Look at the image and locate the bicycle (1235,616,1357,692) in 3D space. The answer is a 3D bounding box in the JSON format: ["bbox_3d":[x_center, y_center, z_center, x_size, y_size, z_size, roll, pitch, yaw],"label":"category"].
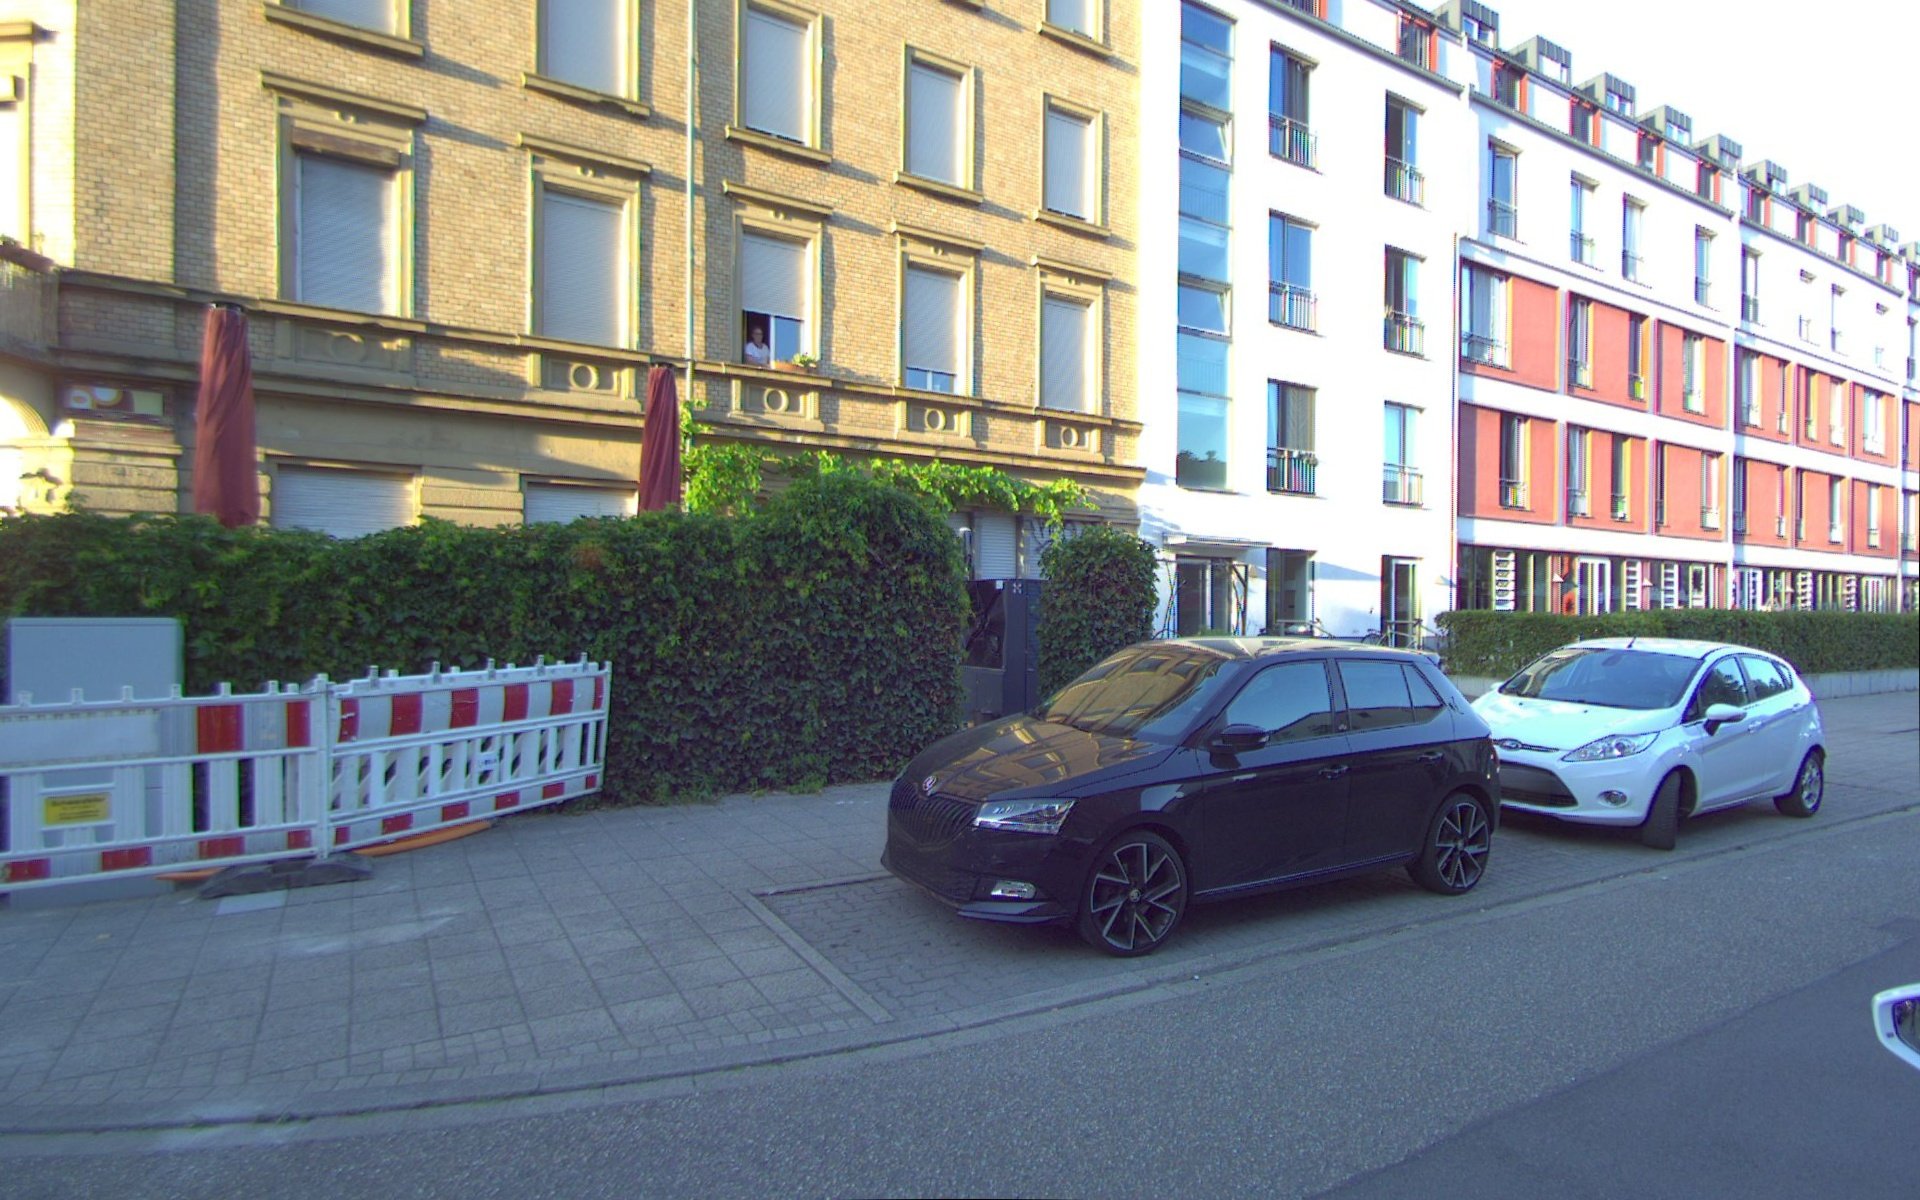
[{"bbox_3d":[5.644,0.877,17.002,0.802,1.157,1.907,1,1,-29],"label":"bicycle"}]

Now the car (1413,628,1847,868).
[{"bbox_3d":[5.753,1.036,8.494,3.974,1.550,1.641,1,0,-34],"label":"car"}]

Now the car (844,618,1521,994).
[{"bbox_3d":[1.400,0.914,5.956,3.799,1.554,1.695,1,0,-31],"label":"car"}]

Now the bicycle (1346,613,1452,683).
[{"bbox_3d":[7.930,0.844,18.227,0.602,1.163,1.769,1,1,-27],"label":"bicycle"}]
